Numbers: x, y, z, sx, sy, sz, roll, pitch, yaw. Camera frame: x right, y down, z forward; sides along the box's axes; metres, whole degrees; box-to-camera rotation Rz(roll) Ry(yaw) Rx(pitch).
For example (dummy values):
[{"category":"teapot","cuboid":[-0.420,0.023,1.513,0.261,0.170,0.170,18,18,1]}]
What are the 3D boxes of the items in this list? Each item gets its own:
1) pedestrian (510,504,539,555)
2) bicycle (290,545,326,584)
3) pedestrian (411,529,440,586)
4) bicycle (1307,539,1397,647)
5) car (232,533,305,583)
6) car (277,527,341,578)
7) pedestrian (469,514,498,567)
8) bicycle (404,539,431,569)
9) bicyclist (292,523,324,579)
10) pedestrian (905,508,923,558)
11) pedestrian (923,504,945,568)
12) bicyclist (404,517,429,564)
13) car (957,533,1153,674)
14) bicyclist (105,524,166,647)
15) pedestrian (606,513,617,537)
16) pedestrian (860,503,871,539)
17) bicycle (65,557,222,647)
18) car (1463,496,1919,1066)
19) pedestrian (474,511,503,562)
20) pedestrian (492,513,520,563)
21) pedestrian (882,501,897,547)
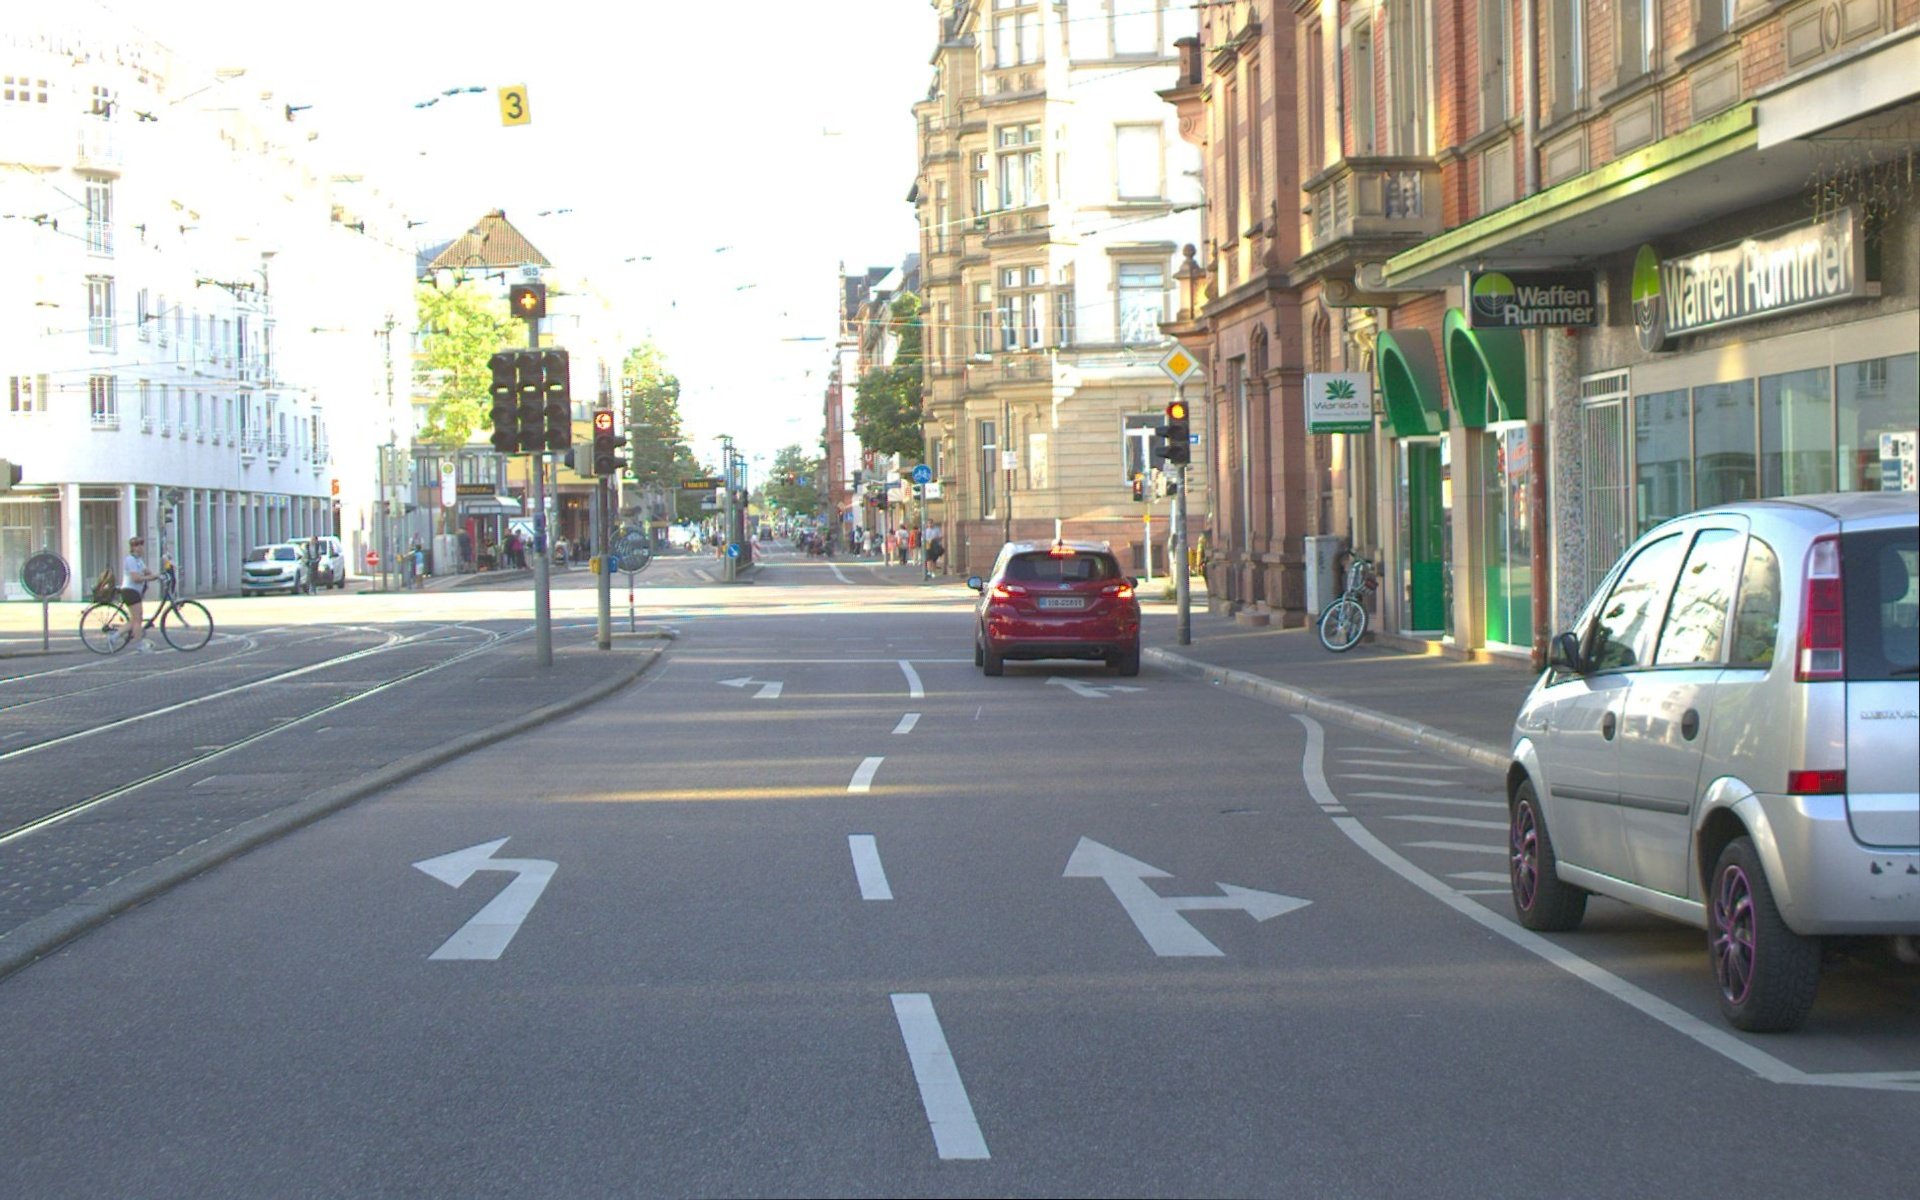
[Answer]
[{"category":"pedestrian","cuboid":[-17.169,-2.791,135.657,1.045,2.007,0.959,-1,1,-5]},{"category":"bicycle","cuboid":[-20.224,-1.108,106.673,0.807,1.143,2.050,-1,1,-3]},{"category":"pedestrian","cuboid":[-16.334,-1.313,104.997,0.768,1.724,0.573,-1,1,-1]},{"category":"bicycle","cuboid":[4.532,-0.092,39.651,0.716,1.148,1.654,-3,2,16]},{"category":"car","cuboid":[-22.560,-1.381,112.242,1.765,1.540,3.461,-1,1,-2]},{"category":"car","cuboid":[-22.814,-1.693,120.567,1.701,1.712,3.565,-1,1,-3]},{"category":"pedestrian","cuboid":[-18.393,-2.309,132.814,0.956,2.007,1.049,-1,1,-3]},{"category":"bicycle","cuboid":[-21.285,-1.811,134.866,0.807,1.143,2.011,-1,1,-3]},{"category":"bicyclist","cuboid":[-20.239,-1.520,106.752,0.807,1.720,0.794,-1,1,-2]},{"category":"pedestrian","cuboid":[-1.870,-2.715,139.289,0.646,2.007,0.683,-1,1,-3]},{"category":"pedestrian","cuboid":[-0.838,-2.058,110.426,0.651,2.007,0.760,-1,1,-4]},{"category":"bicyclist","cuboid":[-21.292,-2.351,134.677,0.807,1.815,0.993,-1,1,-3]},{"category":"car","cuboid":[1.001,-0.002,38.219,1.754,1.461,3.946,0,1,-5]},{"category":"bicyclist","cuboid":[-11.088,-0.198,46.224,0.729,1.621,0.766,-1,1,-11]},{"category":"pedestrian","cuboid":[-23.228,-5.006,229.184,0.628,1.598,0.579,-2,1,-19]},{"category":"pedestrian","cuboid":[-5.375,-4.467,194.684,0.577,2.007,0.631,-1,1,-2]},{"category":"bicycle","cuboid":[-11.056,0.025,46.617,2.017,1.173,0.628,-1,1,-11]},{"category":"car","cuboid":[2.978,0.463,11.748,1.637,1.609,3.946,-1,1,-5]},{"category":"pedestrian","cuboid":[-18.828,-2.527,137.227,1.045,2.007,0.959,-1,1,-5]},{"category":"pedestrian","cuboid":[-18.330,-2.512,138.883,1.045,2.007,0.959,-1,1,-5]},{"category":"pedestrian","cuboid":[-3.113,-3.373,152.222,0.577,2.007,0.631,-1,1,3]}]
